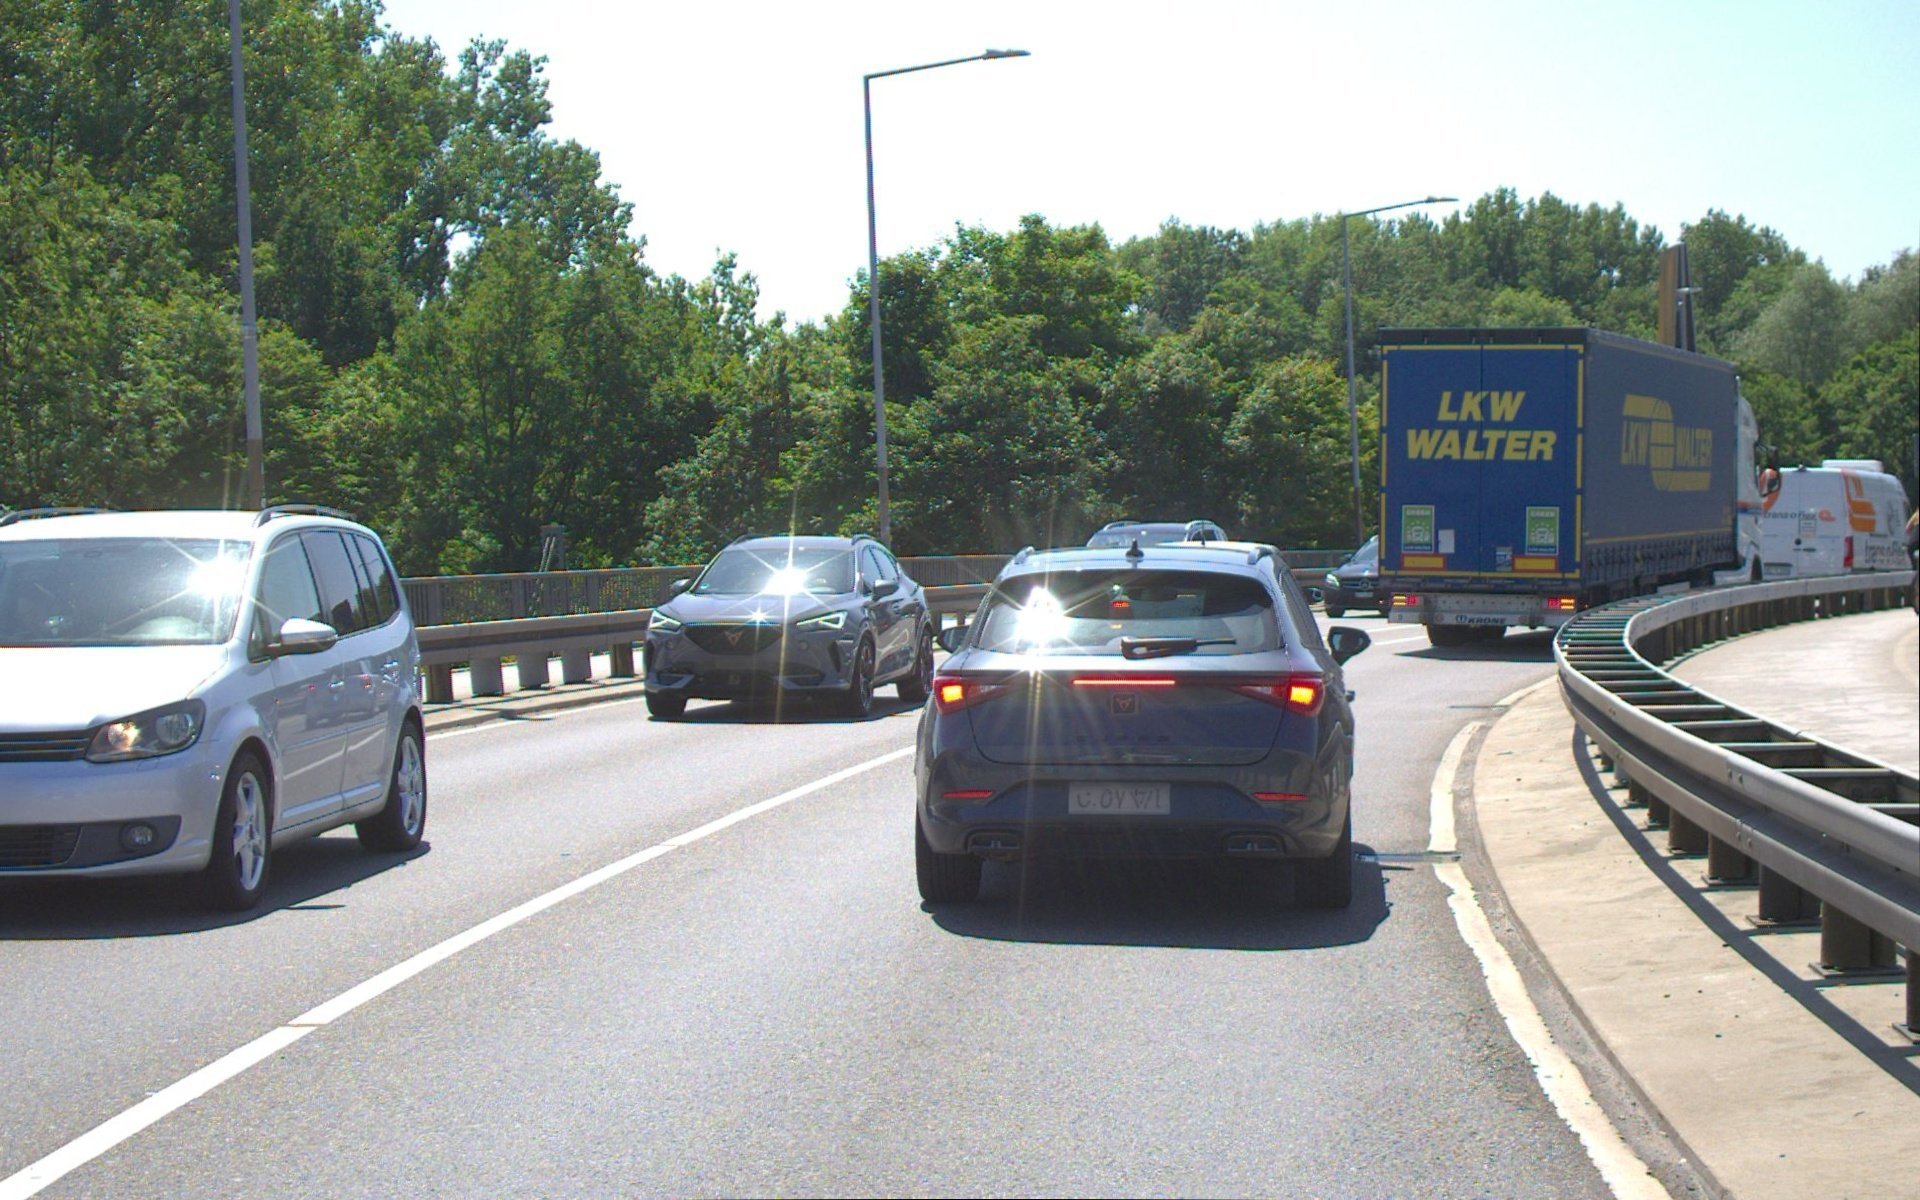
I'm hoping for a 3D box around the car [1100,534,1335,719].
[{"bbox_3d":[2.251,0.187,29.322,1.594,1.456,3.543,1,1,11],"label":"car"}]

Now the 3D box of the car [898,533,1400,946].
[{"bbox_3d":[0.763,0.476,14.568,1.845,1.493,3.758,0,1,2],"label":"car"}]

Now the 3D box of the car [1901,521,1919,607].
[{"bbox_3d":[21.943,-0.767,74.614,1.892,1.843,3.993,1,1,31],"label":"car"}]

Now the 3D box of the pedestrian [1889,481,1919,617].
[{"bbox_3d":[13.873,-0.738,49.725,0.737,1.961,0.733,1,0,23],"label":"pedestrian"}]

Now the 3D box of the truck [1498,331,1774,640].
[{"bbox_3d":[10.884,-1.727,54.740,3.173,4.569,7.389,1,0,20],"label":"truck"}]

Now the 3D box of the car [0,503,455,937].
[{"bbox_3d":[-3.553,0.421,14.876,1.716,1.609,4.118,-1,1,6],"label":"car"}]

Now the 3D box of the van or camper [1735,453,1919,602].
[{"bbox_3d":[16.646,-1.411,65.604,2.206,2.702,5.917,1,2,27],"label":"van or camper"}]

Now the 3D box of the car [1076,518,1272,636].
[{"bbox_3d":[3.094,-0.329,48.920,1.907,1.584,3.997,-1,0,17],"label":"car"}]

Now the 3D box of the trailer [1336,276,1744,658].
[{"bbox_3d":[8.431,-1.683,48.074,3.137,4.598,12.934,1,1,21],"label":"trailer"}]

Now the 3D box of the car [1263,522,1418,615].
[{"bbox_3d":[6.484,-0.538,58.329,1.704,1.505,3.577,-1,0,22],"label":"car"}]

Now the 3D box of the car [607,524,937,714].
[{"bbox_3d":[-1.512,0.126,29.385,1.887,1.491,4.314,-1,1,10],"label":"car"}]
